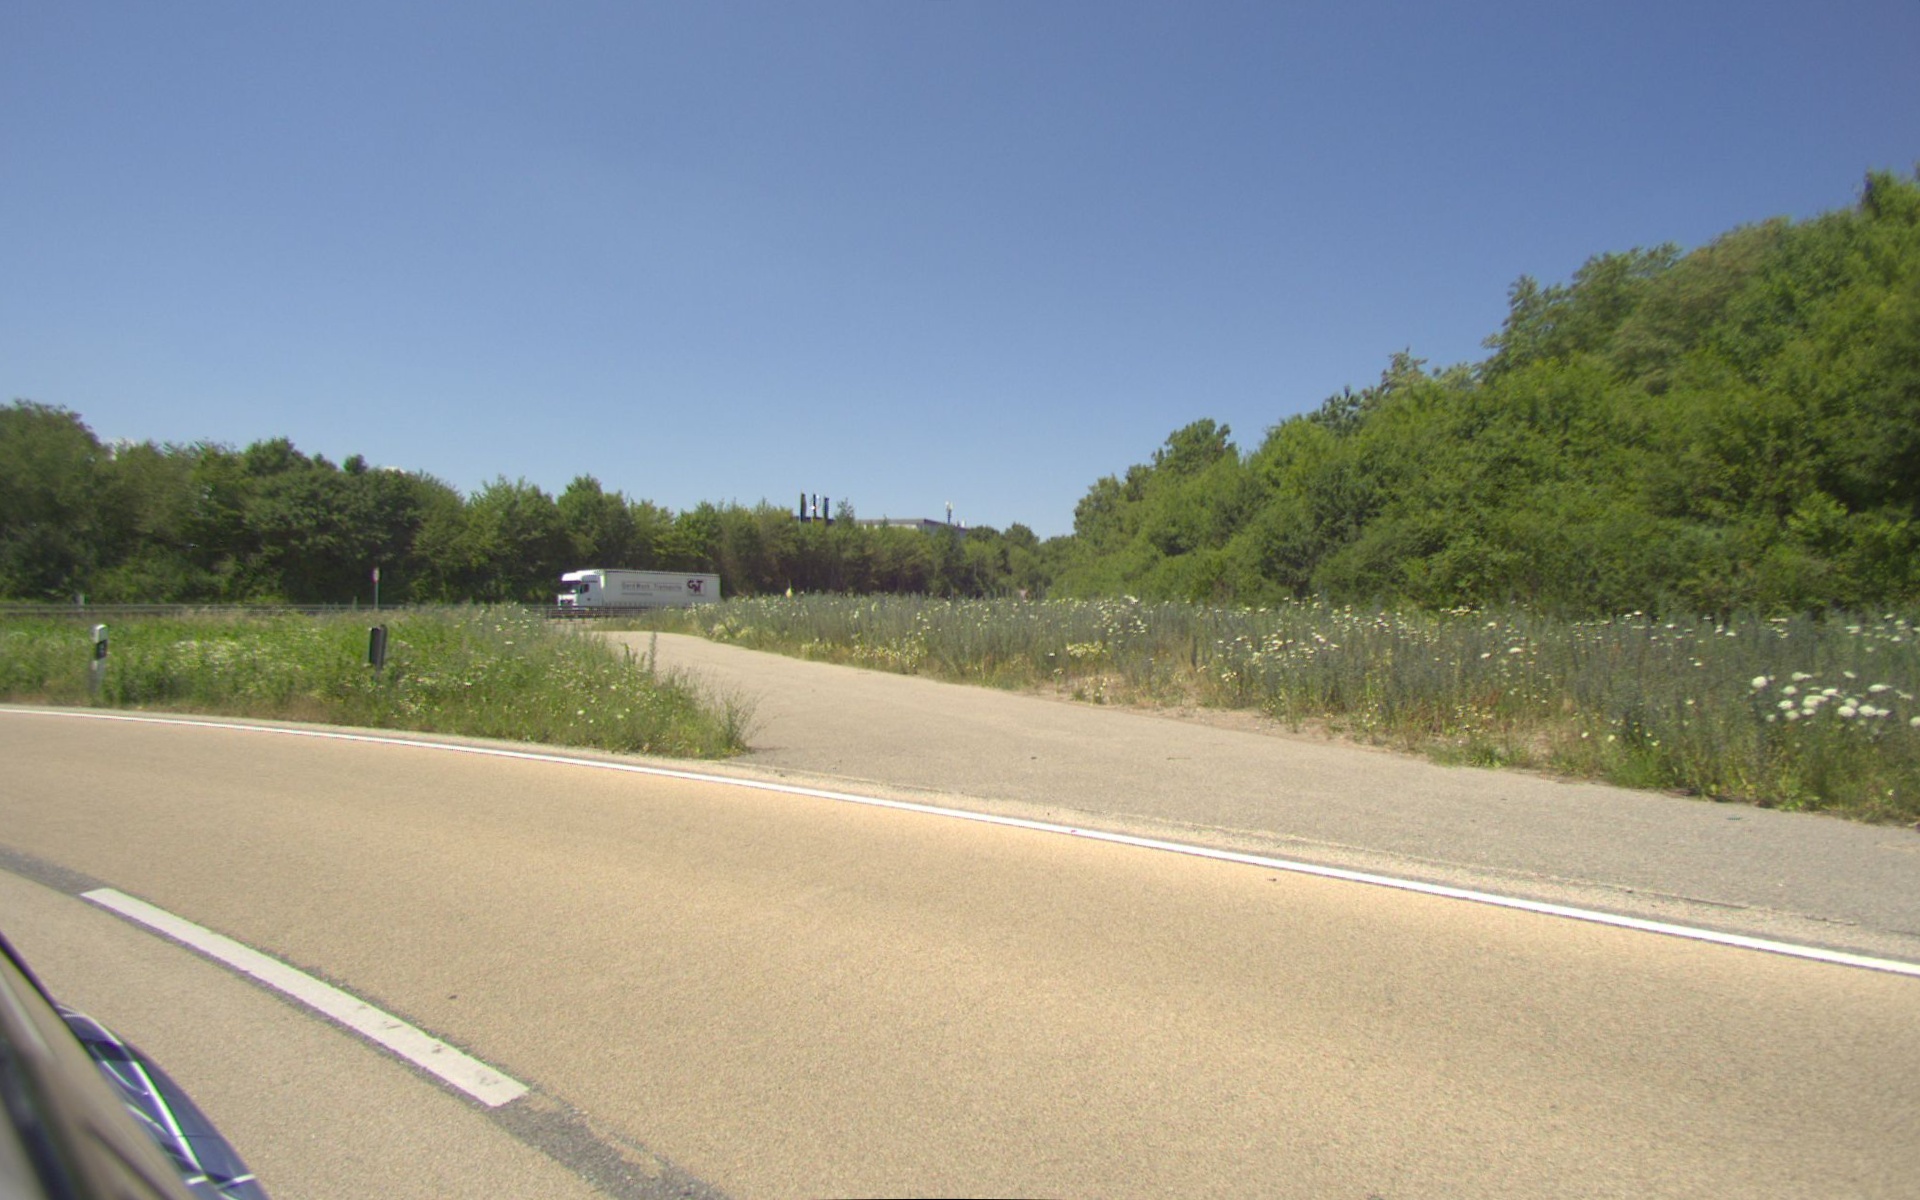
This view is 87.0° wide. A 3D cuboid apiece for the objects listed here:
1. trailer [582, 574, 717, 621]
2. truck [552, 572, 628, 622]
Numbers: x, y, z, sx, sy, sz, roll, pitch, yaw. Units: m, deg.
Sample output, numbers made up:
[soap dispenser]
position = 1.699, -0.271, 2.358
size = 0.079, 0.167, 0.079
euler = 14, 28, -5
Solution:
[trailer]
position = -27.420, -0.161, 90.520
size = 2.910, 3.969, 13.139
euler = -1, -1, 30
[truck]
position = -30.851, -0.217, 84.535
size = 2.909, 3.969, 5.364
euler = -1, -1, 29
